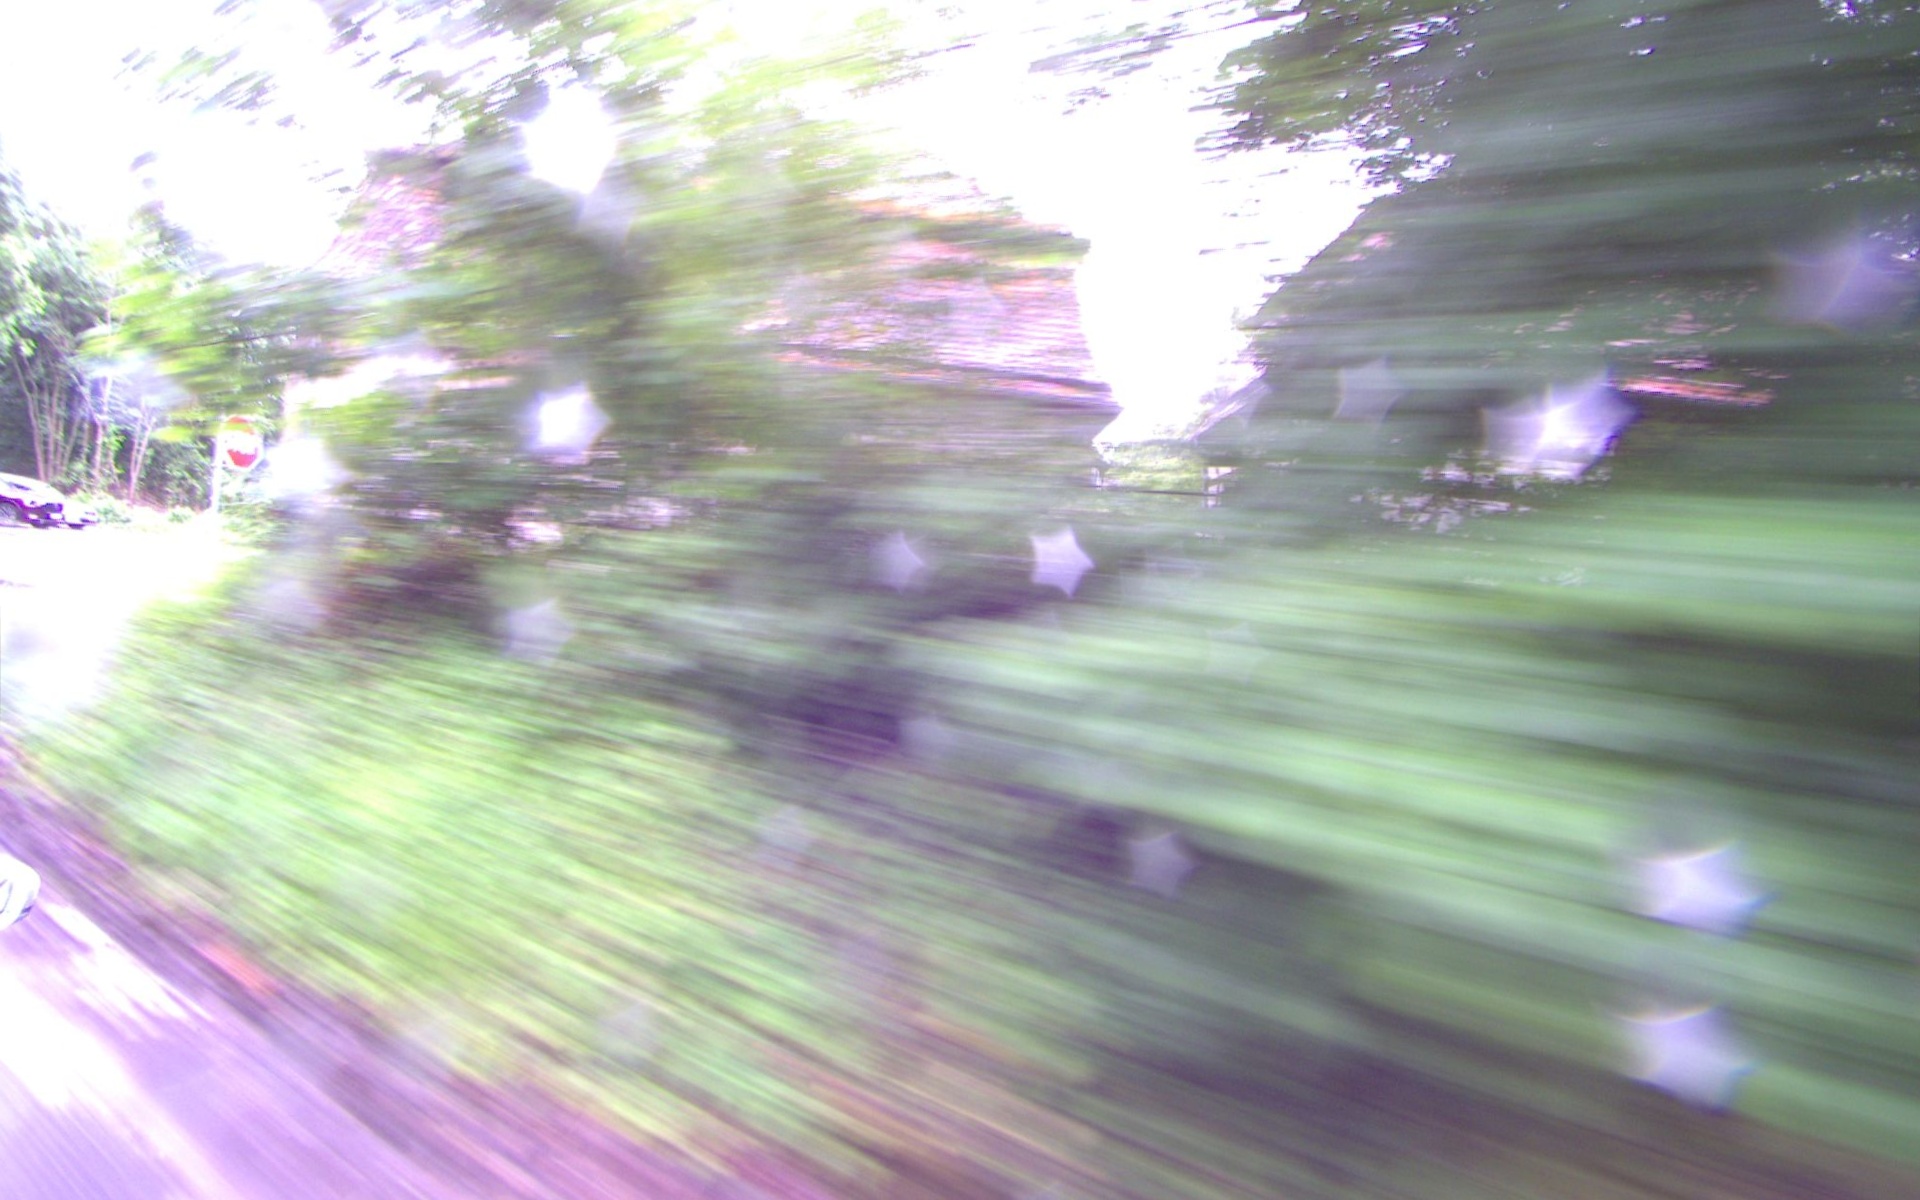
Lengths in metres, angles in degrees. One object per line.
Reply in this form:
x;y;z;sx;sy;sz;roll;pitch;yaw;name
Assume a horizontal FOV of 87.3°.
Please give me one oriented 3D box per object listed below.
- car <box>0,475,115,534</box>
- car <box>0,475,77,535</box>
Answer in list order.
-32.436;-3.402;35.101;4.081;1.574;1.769;7;1;-11;car
-31.610;-3.260;32.075;4.763;1.699;1.870;7;1;-13;car
